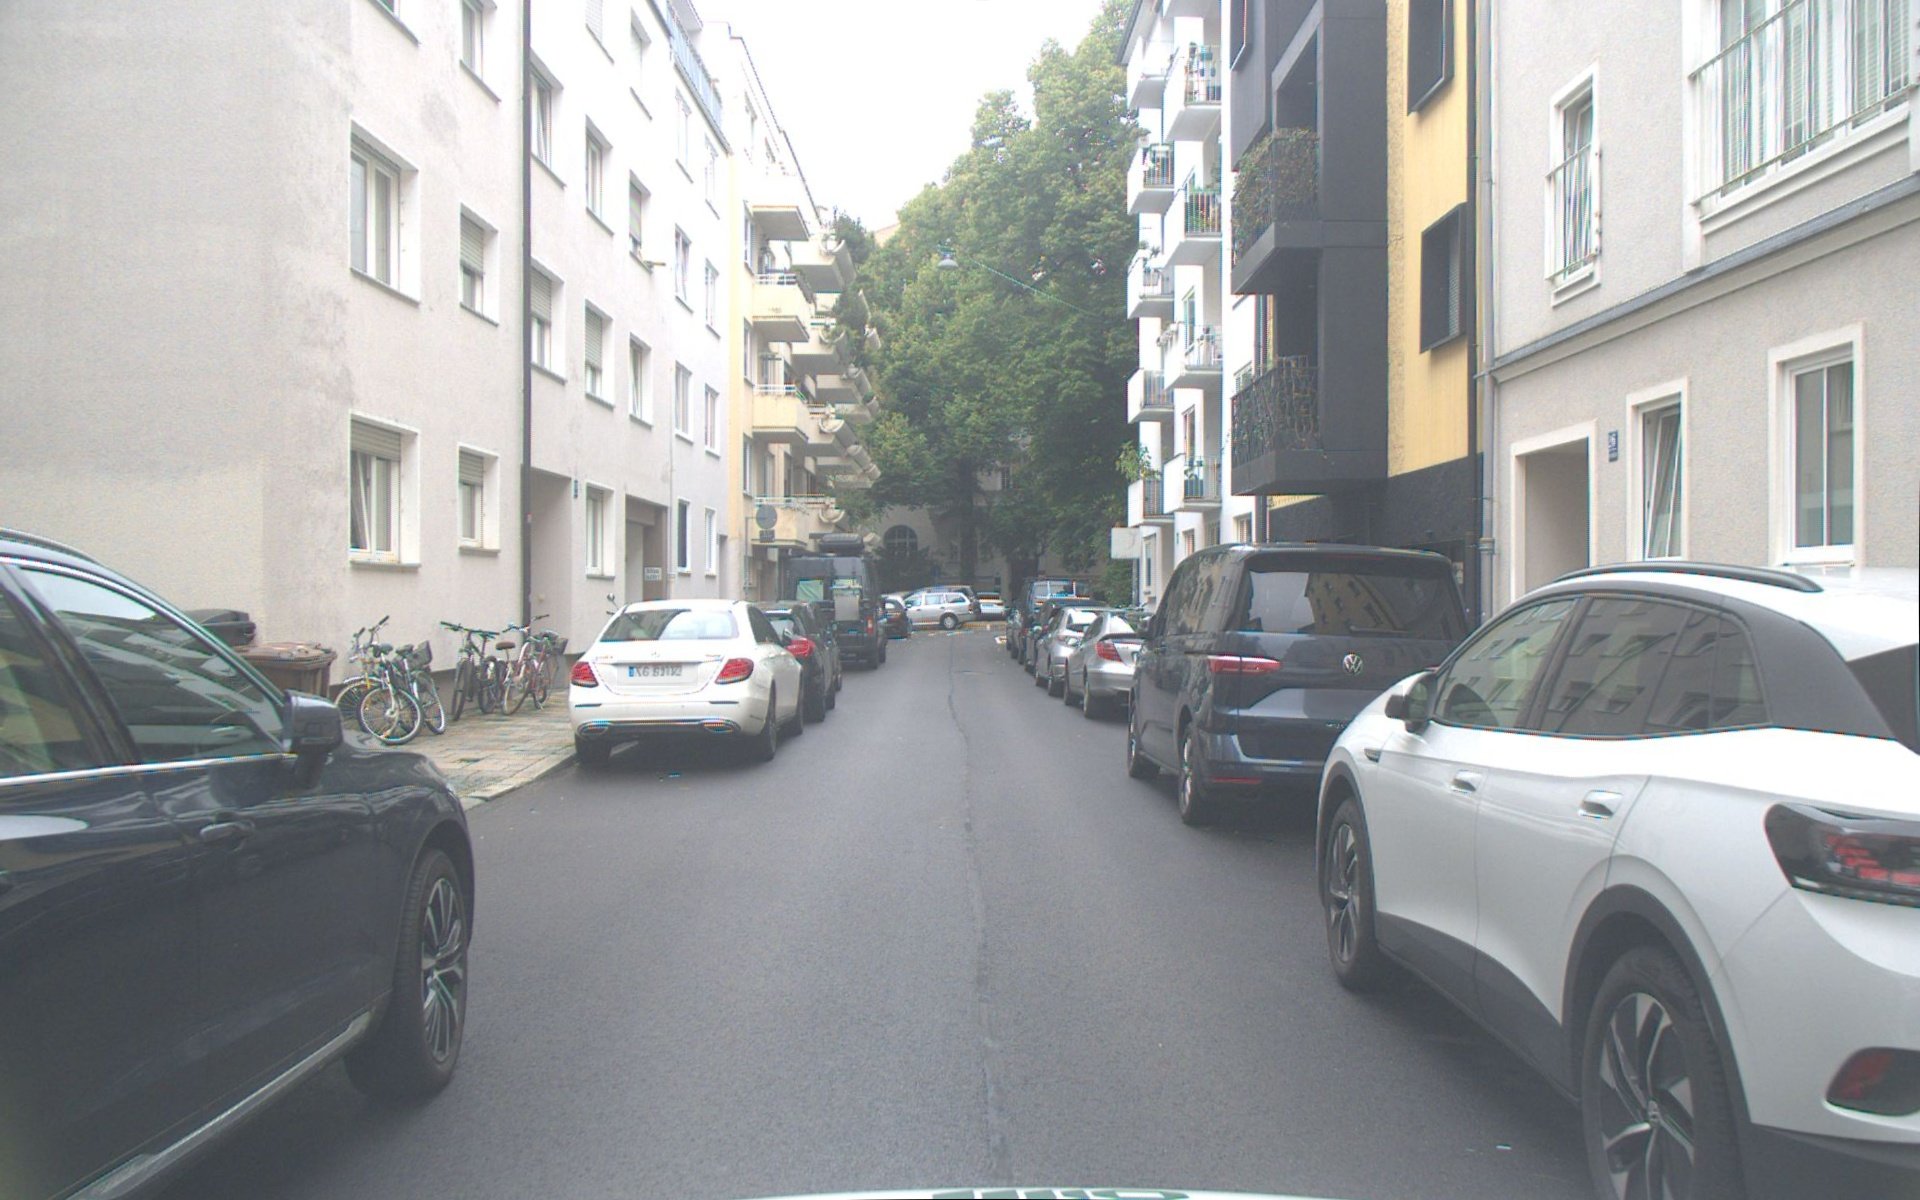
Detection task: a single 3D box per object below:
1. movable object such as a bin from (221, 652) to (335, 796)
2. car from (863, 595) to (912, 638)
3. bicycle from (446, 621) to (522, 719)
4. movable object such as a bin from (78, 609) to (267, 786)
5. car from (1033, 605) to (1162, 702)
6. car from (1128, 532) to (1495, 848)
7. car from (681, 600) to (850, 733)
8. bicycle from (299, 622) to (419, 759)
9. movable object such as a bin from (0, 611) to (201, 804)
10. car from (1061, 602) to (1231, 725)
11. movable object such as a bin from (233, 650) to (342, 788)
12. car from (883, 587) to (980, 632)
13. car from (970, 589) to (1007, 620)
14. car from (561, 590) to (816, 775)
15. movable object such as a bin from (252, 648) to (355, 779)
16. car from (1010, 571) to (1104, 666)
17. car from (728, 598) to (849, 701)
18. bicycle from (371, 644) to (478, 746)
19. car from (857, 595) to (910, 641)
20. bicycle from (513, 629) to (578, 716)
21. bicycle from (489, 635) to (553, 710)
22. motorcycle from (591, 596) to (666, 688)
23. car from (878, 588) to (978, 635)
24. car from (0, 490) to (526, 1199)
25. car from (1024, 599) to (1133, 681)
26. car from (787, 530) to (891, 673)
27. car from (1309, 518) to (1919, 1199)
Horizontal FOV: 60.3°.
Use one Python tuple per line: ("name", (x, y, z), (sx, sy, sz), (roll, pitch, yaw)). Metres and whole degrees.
("movable object such as a bin", (-5.159, 0.929, 12.542), (0.637, 1.038, 0.584), (2, 0, -7))
("car", (-2.553, 0.556, 58.757), (1.609, 1.407, 3.482), (-3, 0, -1))
("bicycle", (-5.603, 0.802, 19.551), (0.388, 1.069, 1.759), (1, 0, -1))
("movable object such as a bin", (-6.496, 0.783, 13.705), (1.026, 1.360, 0.993), (-2, 0, 2))
("car", (2.355, 0.890, 29.402), (1.792, 1.479, 4.414), (3, 0, -1))
("car", (2.450, 0.561, 12.671), (1.792, 1.943, 4.415), (2, 0, -1))
("car", (-2.438, 0.790, 21.665), (1.741, 1.478, 4.045), (-3, 0, -1))
("bicycle", (-5.660, 0.812, 15.675), (0.388, 1.086, 2.133), (1, 2, -1))
("movable object such as a bin", (-6.635, 0.795, 12.626), (1.142, 1.360, 1.025), (-2, 0, 2))
("car", (2.534, 0.822, 23.569), (1.792, 1.479, 4.414), (3, 0, -1))
("movable object such as a bin", (-5.331, 0.931, 13.140), (0.637, 1.038, 0.584), (2, 0, -7))
("car", (-1.168, 0.369, 66.821), (3.808, 1.612, 1.647), (-3, 0, -2))
("car", (1.392, 0.220, 81.937), (1.609, 1.407, 3.745), (-3, 0, -1))
("car", (-2.537, 0.704, 16.527), (1.740, 1.513, 4.519), (-3, 0, 0))
("movable object such as a bin", (-5.453, 0.936, 13.763), (0.637, 1.038, 0.584), (2, 0, -7))
("car", (2.233, 0.405, 39.145), (1.792, 2.034, 4.414), (3, 0, -1))
("car", (-2.707, 0.747, 26.688), (1.609, 1.478, 3.161), (-3, 0, -1))
("bicycle", (-5.357, 0.927, 16.658), (0.388, 0.884, 2.132), (1, 0, -1))
("car", (-2.513, 0.570, 54.914), (1.609, 1.407, 3.482), (-3, 0, -1))
("bicycle", (-5.144, 0.880, 20.600), (0.388, 0.999, 1.655), (1, 0, -1))
("bicycle", (-5.632, 0.915, 21.273), (0.388, 0.884, 1.613), (1, 0, -1))
("motorcycle", (-5.241, 0.637, 26.296), (0.666, 1.374, 2.486), (1, 0, 1))
("car", (-1.266, 0.434, 64.843), (3.808, 1.612, 1.647), (-3, 0, -2))
("car", (-2.331, 0.676, 3.422), (1.741, 1.658, 4.414), (-1, 0, -1))
("car", (2.365, 0.764, 33.966), (1.792, 1.479, 4.414), (3, 0, -1))
("car", (-2.575, 0.015, 36.272), (1.897, 2.850, 4.531), (-3, 0, -1))
("car", (2.386, 0.684, 4.940), (1.648, 1.595, 4.415), (2, 0, -1))
